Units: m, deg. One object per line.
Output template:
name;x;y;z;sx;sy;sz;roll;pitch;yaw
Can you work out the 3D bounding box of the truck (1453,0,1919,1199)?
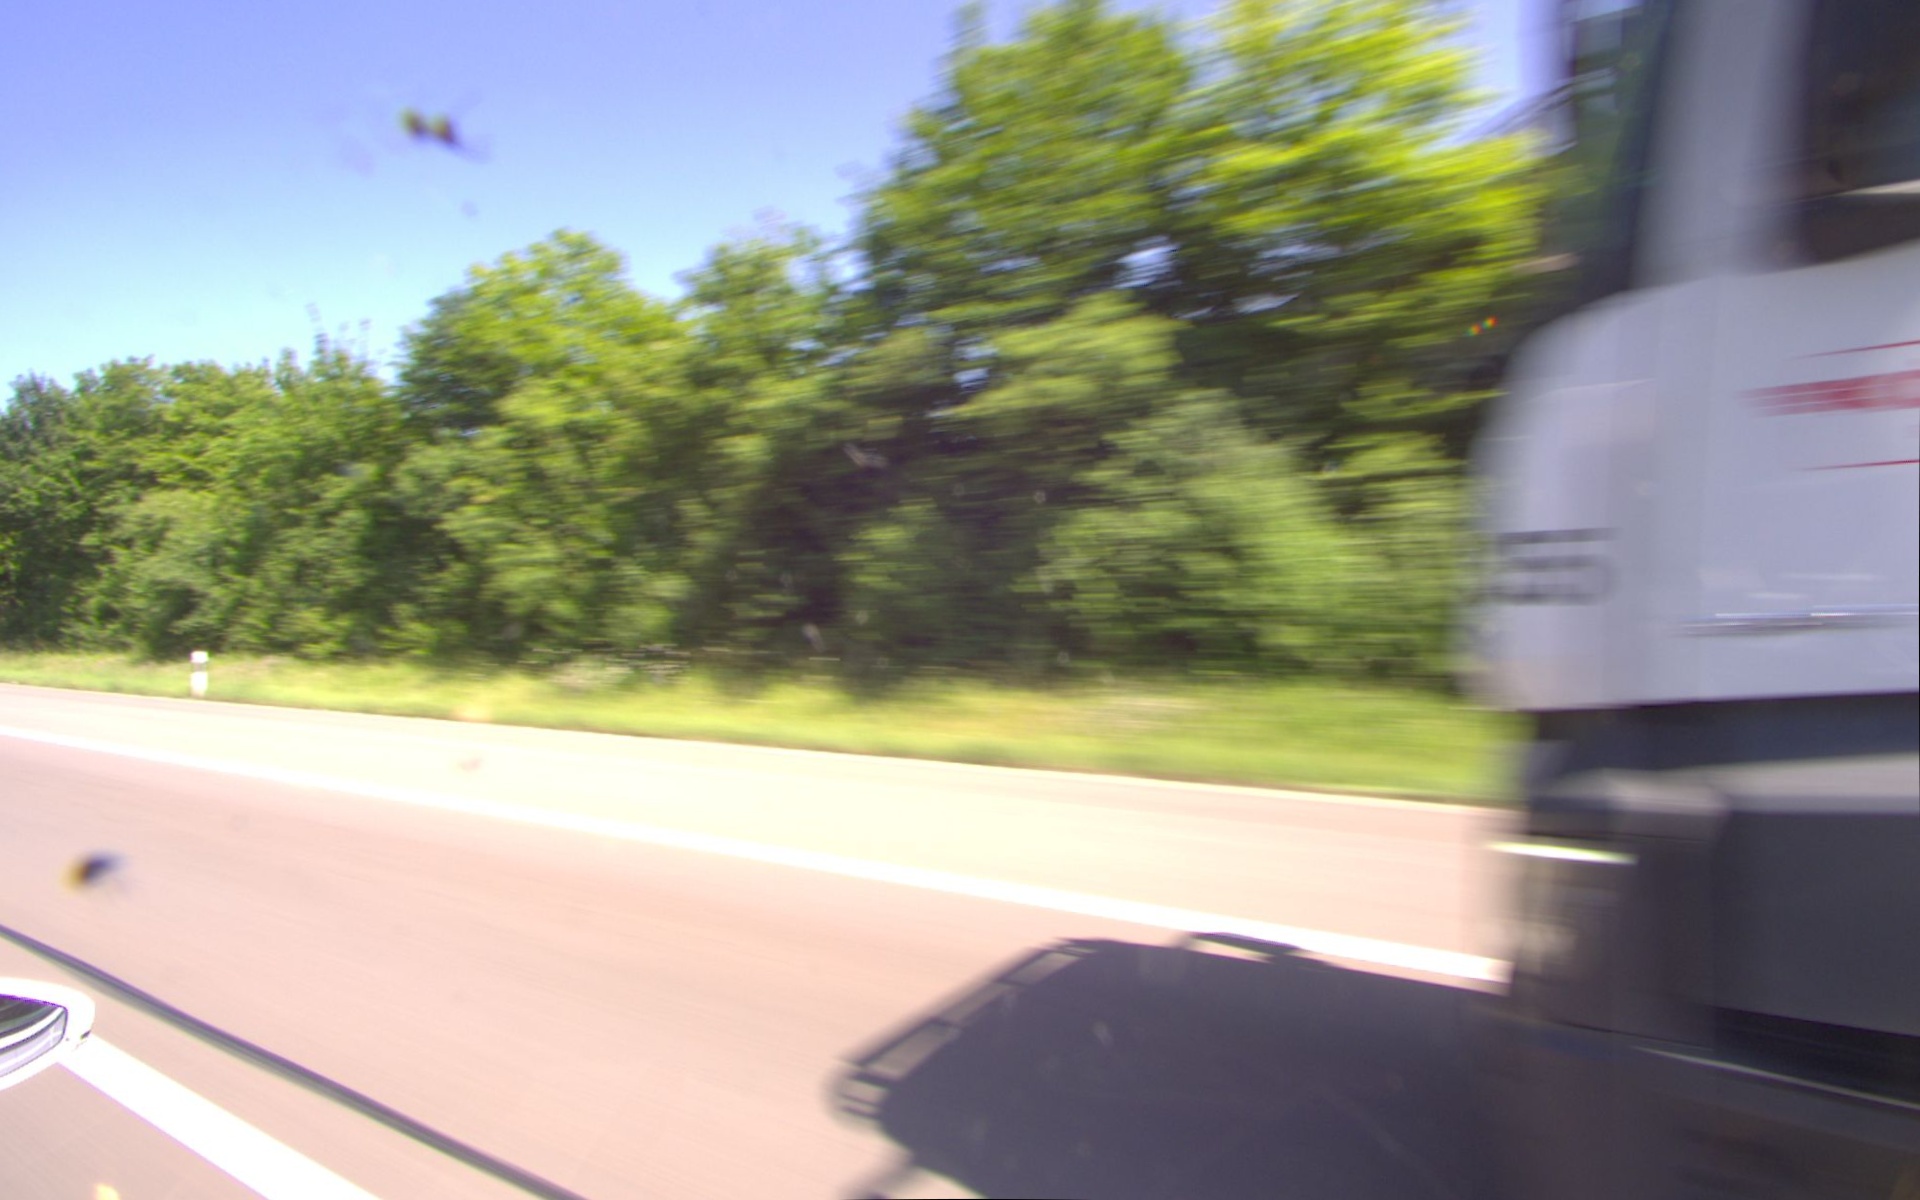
truck;4.164;-0.227;0.988;6.394;3.418;2.633;-1;-1;32
